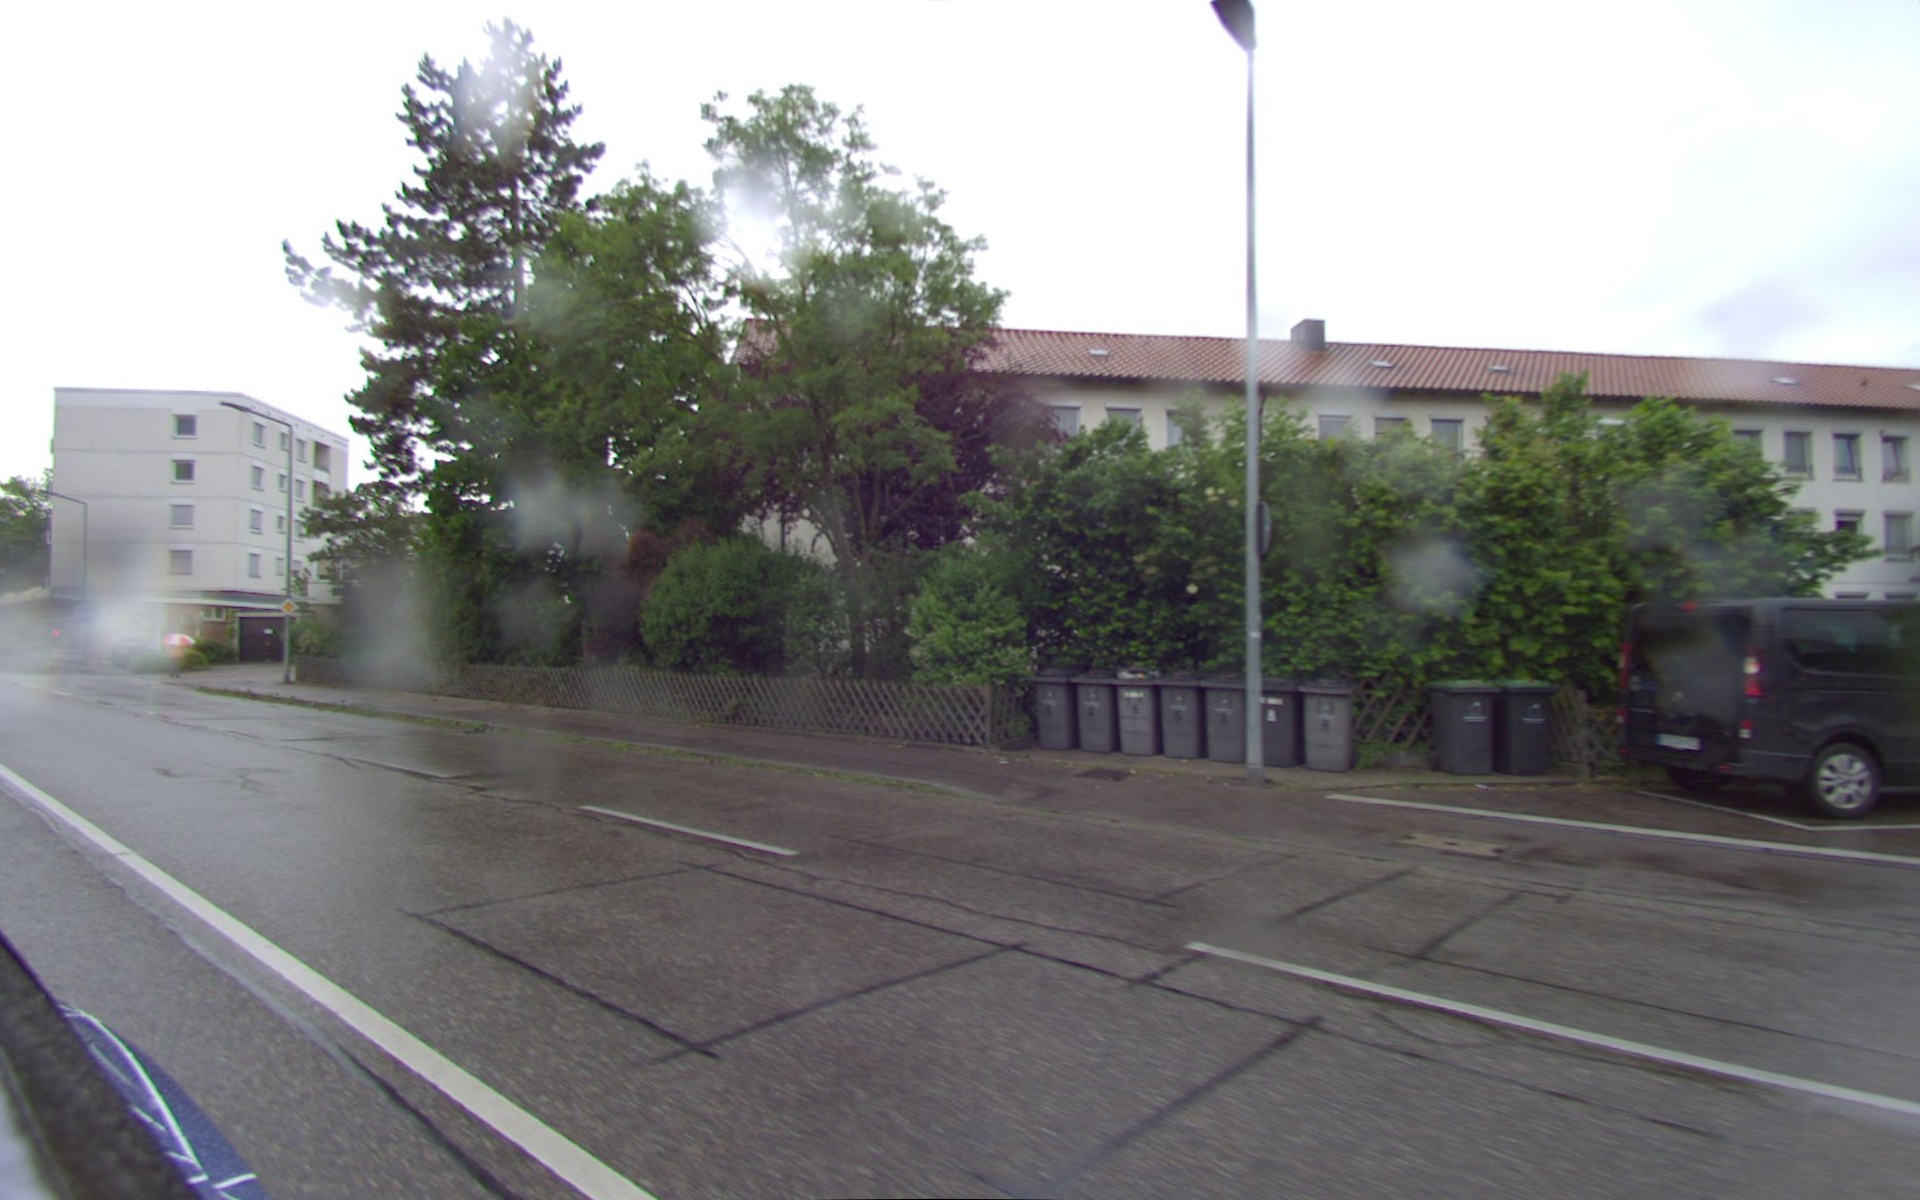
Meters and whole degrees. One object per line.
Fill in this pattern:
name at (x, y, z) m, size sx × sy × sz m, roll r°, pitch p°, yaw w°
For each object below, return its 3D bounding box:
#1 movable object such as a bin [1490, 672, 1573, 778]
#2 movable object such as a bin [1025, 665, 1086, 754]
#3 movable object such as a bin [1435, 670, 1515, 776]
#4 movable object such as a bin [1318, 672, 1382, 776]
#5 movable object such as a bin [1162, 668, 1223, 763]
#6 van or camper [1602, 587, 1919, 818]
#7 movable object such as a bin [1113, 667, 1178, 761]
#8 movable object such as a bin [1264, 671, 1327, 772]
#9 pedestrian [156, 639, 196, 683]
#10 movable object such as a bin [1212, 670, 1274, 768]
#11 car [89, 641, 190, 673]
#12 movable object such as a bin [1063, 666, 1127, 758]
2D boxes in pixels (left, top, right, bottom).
movable object such as a bin at (6.382, 1.380, 11.329) m, size 0.594 × 1.127 × 0.600 m, roll 0°, pitch -3°, yaw 6°
movable object such as a bin at (1.279, 1.443, 13.553) m, size 0.600 × 1.127 × 0.593 m, roll -2°, pitch -3°, yaw 39°
movable object such as a bin at (5.744, 1.356, 11.316) m, size 0.594 × 1.127 × 0.600 m, roll 0°, pitch -3°, yaw 6°
movable object such as a bin at (4.473, 1.400, 11.601) m, size 0.599 × 1.127 × 0.595 m, roll -1°, pitch -3°, yaw 29°
movable object such as a bin at (2.892, 1.414, 12.586) m, size 0.599 × 1.127 × 0.595 m, roll -1°, pitch -3°, yaw 29°
van or camper at (9.425, 0.894, 9.733) m, size 5.141 × 1.940 × 2.001 m, roll -1°, pitch -3°, yaw -2°
movable object such as a bin at (2.366, 1.432, 12.901) m, size 0.600 × 1.127 × 0.593 m, roll -2°, pitch -3°, yaw 40°
movable object such as a bin at (3.957, 1.408, 11.931) m, size 0.599 × 1.127 × 0.595 m, roll -1°, pitch -3°, yaw 29°
pedestrian at (-29.686, 2.287, 38.329) m, size 1.100 × 1.619 × 0.862 m, roll -1°, pitch -2°, yaw 33°
movable object such as a bin at (3.427, 1.420, 12.253) m, size 0.599 × 1.127 × 0.595 m, roll -1°, pitch -3°, yaw 29°
car at (-41.948, 2.918, 51.872) m, size 1.968 × 1.558 × 4.478 m, roll 1°, pitch -3°, yaw -8°
movable object such as a bin at (1.753, 1.432, 13.150) m, size 0.600 × 1.127 × 0.593 m, roll -2°, pitch -3°, yaw 39°
